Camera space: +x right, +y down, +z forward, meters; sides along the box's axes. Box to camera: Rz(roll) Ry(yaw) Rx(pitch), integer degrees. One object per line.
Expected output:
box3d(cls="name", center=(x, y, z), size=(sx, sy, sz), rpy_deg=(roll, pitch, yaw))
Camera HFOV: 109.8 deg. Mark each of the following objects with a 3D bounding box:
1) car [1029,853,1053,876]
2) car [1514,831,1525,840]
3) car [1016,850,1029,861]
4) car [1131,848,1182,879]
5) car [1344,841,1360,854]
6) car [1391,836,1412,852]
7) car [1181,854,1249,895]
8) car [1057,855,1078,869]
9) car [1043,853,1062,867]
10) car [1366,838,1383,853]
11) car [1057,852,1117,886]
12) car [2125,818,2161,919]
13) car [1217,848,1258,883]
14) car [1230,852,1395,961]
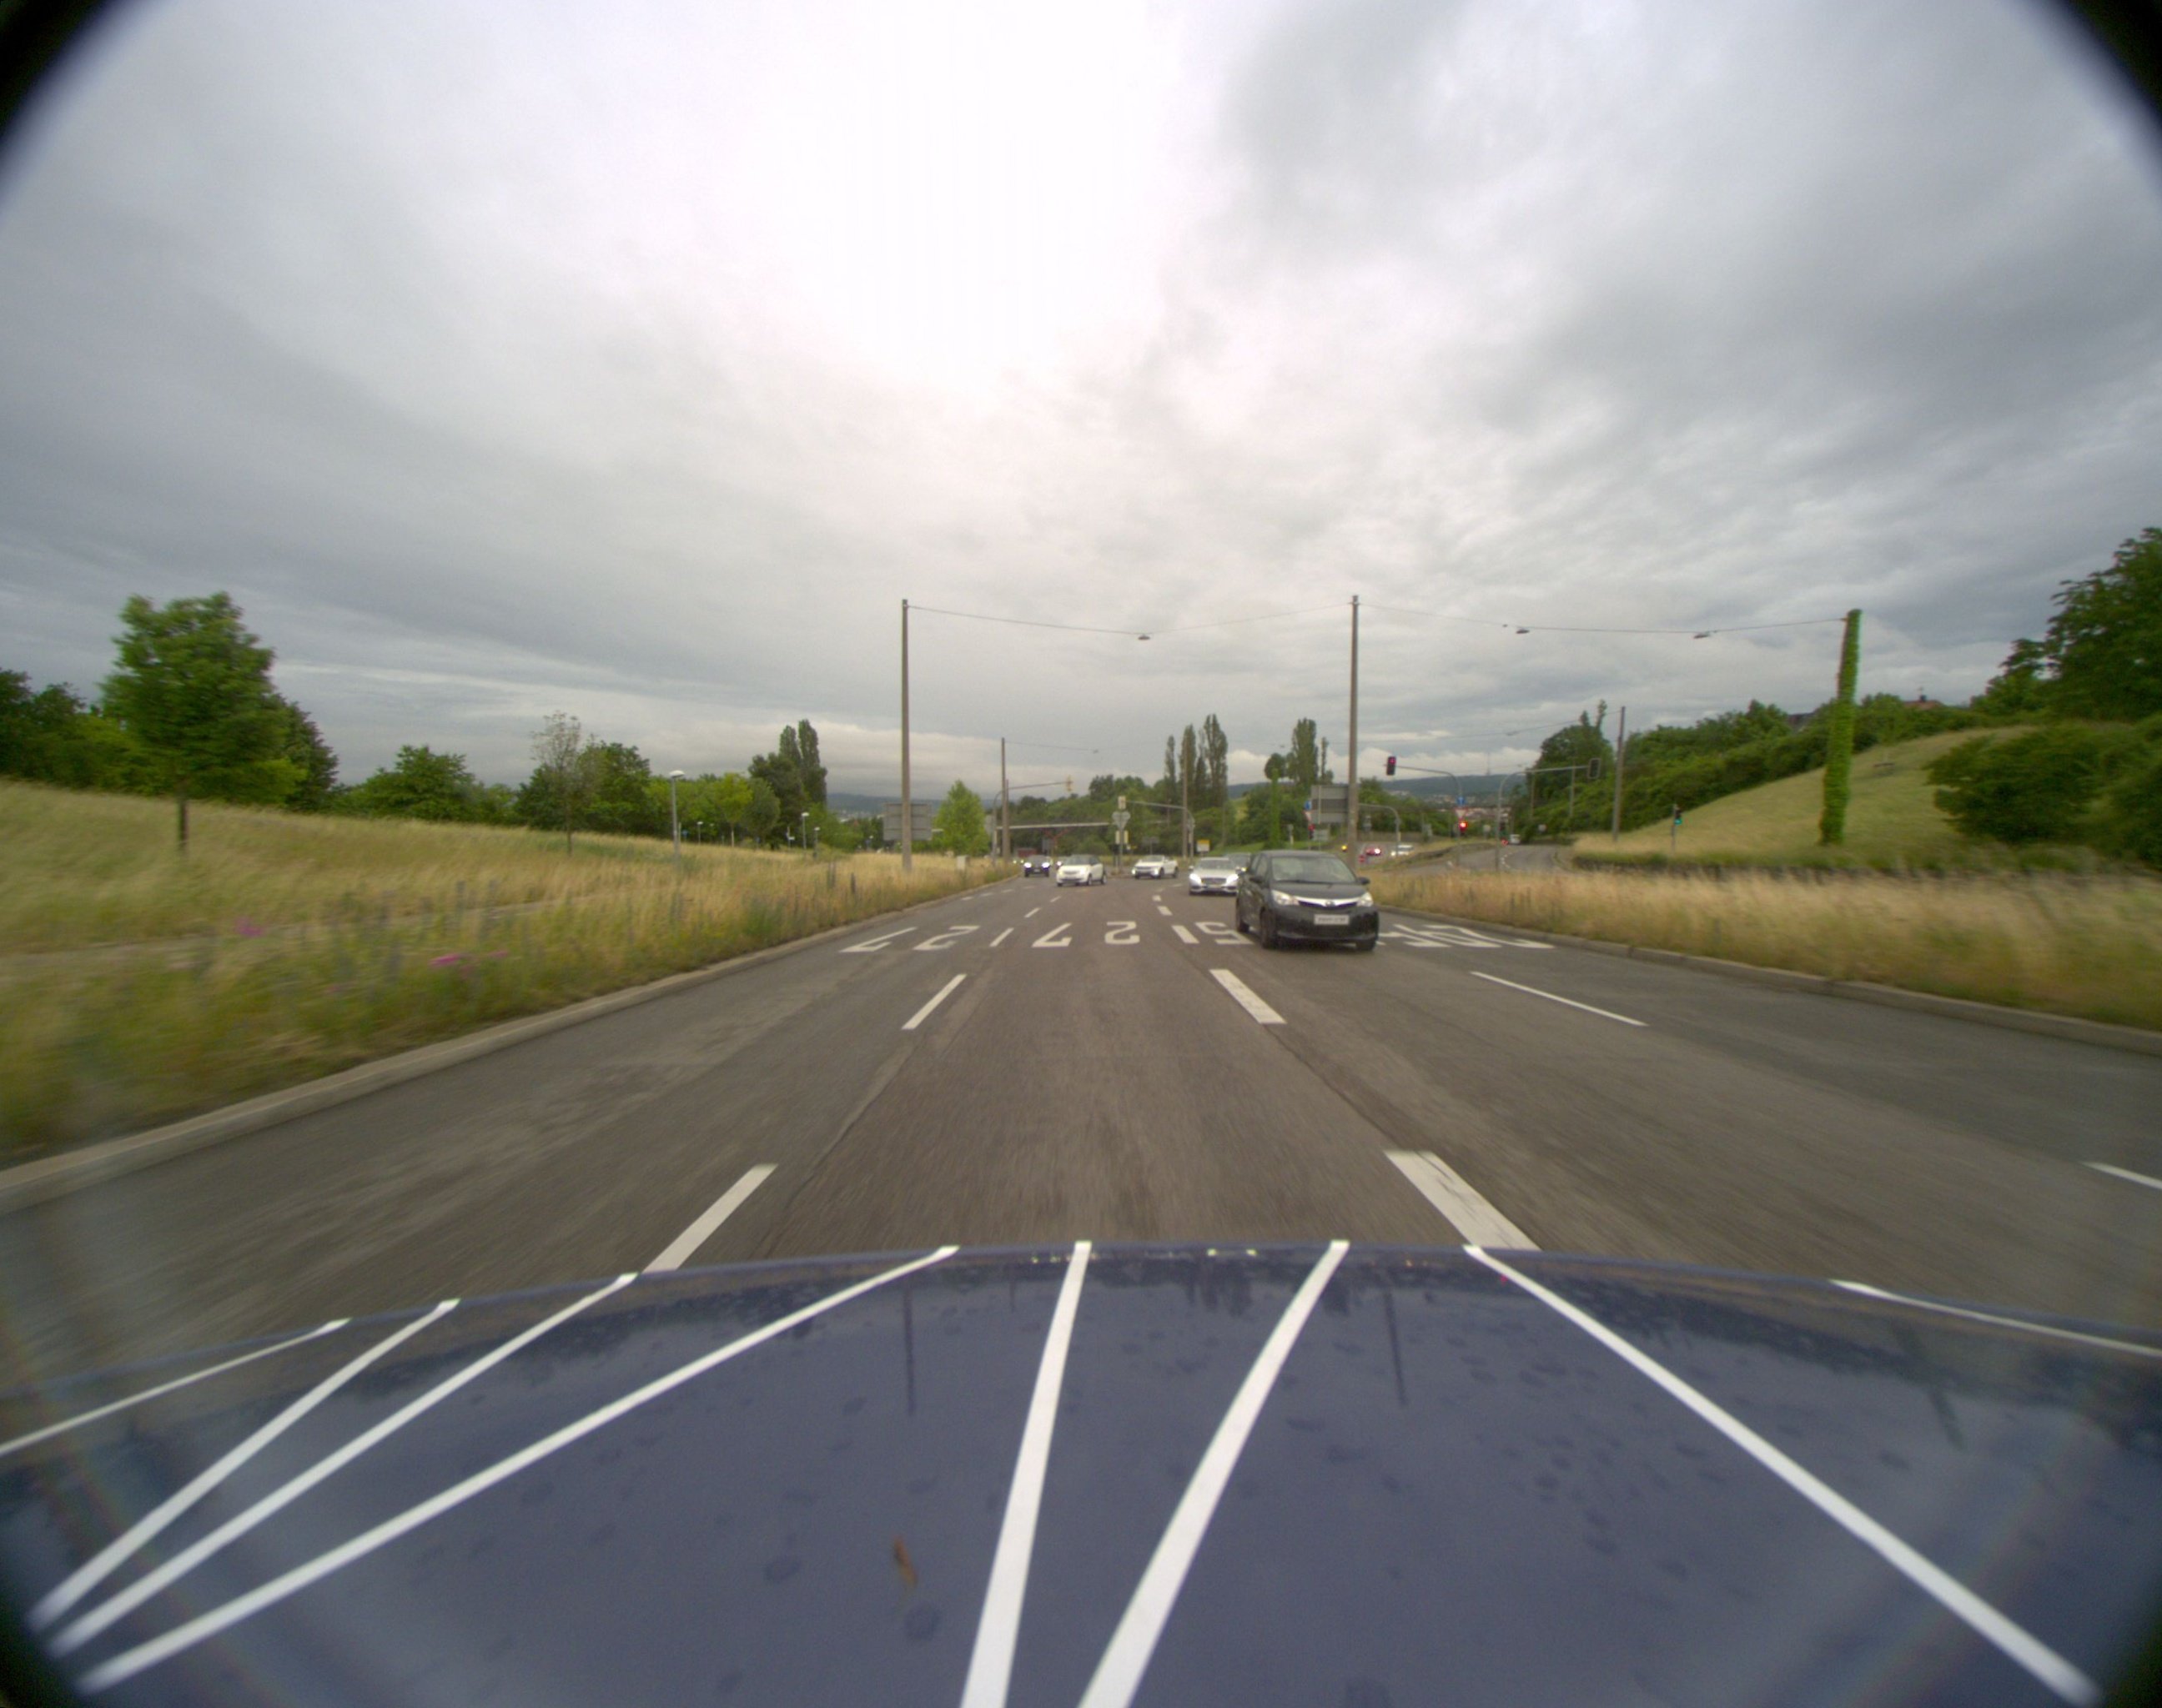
box3d(cls="car", center=(-3.075, 0.784, 58.313), size=(1.720, 1.633, 3.886), rpy_deg=(-3, 1, -3))
box3d(cls="car", center=(78.318, -3.318, 135.811), size=(1.557, 1.424, 3.235), rpy_deg=(-2, 1, 32))
box3d(cls="car", center=(-10.855, 0.215, 140.565), size=(2.000, 2.002, 3.996), rpy_deg=(-1, 1, -10))
box3d(cls="car", center=(4.912, 0.604, 48.756), size=(1.839, 1.532, 3.822), rpy_deg=(-1, 5, 28))
box3d(cls="car", center=(40.781, -0.990, 114.425), size=(1.995, 2.002, 4.006), rpy_deg=(0, 1, 23))
box3d(cls="car", center=(35.335, -1.096, 83.751), size=(1.995, 1.682, 4.295), rpy_deg=(-1, 1, 21))
box3d(cls="car", center=(5.110, 0.731, 29.605), size=(1.998, 1.400, 4.524), rpy_deg=(0, 1, 2))
box3d(cls="car", center=(-1.595, 0.871, 87.427), size=(1.872, 1.477, 3.996), rpy_deg=(-1, 1, -9))
box3d(cls="car", center=(-4.139, 0.806, 109.632), size=(1.839, 1.936, 3.995), rpy_deg=(-2, 1, -13))
box3d(cls="car", center=(39.431, -1.139, 102.049), size=(1.995, 2.002, 4.006), rpy_deg=(0, 1, 22))
box3d(cls="car", center=(0.368, 0.716, 38.603), size=(1.723, 1.513, 4.233), rpy_deg=(0, 1, 20))
box3d(cls="car", center=(22.548, 0.335, 13.625), size=(1.999, 2.002, 3.998), rpy_deg=(1, 1, -3))
box3d(cls="car", center=(8.187, 0.570, 40.010), size=(1.926, 1.725, 4.028), rpy_deg=(-1, 1, 10))
box3d(cls="car", center=(3.732, 0.754, 12.992), size=(1.800, 1.556, 4.044), rpy_deg=(1, 0, 4))
